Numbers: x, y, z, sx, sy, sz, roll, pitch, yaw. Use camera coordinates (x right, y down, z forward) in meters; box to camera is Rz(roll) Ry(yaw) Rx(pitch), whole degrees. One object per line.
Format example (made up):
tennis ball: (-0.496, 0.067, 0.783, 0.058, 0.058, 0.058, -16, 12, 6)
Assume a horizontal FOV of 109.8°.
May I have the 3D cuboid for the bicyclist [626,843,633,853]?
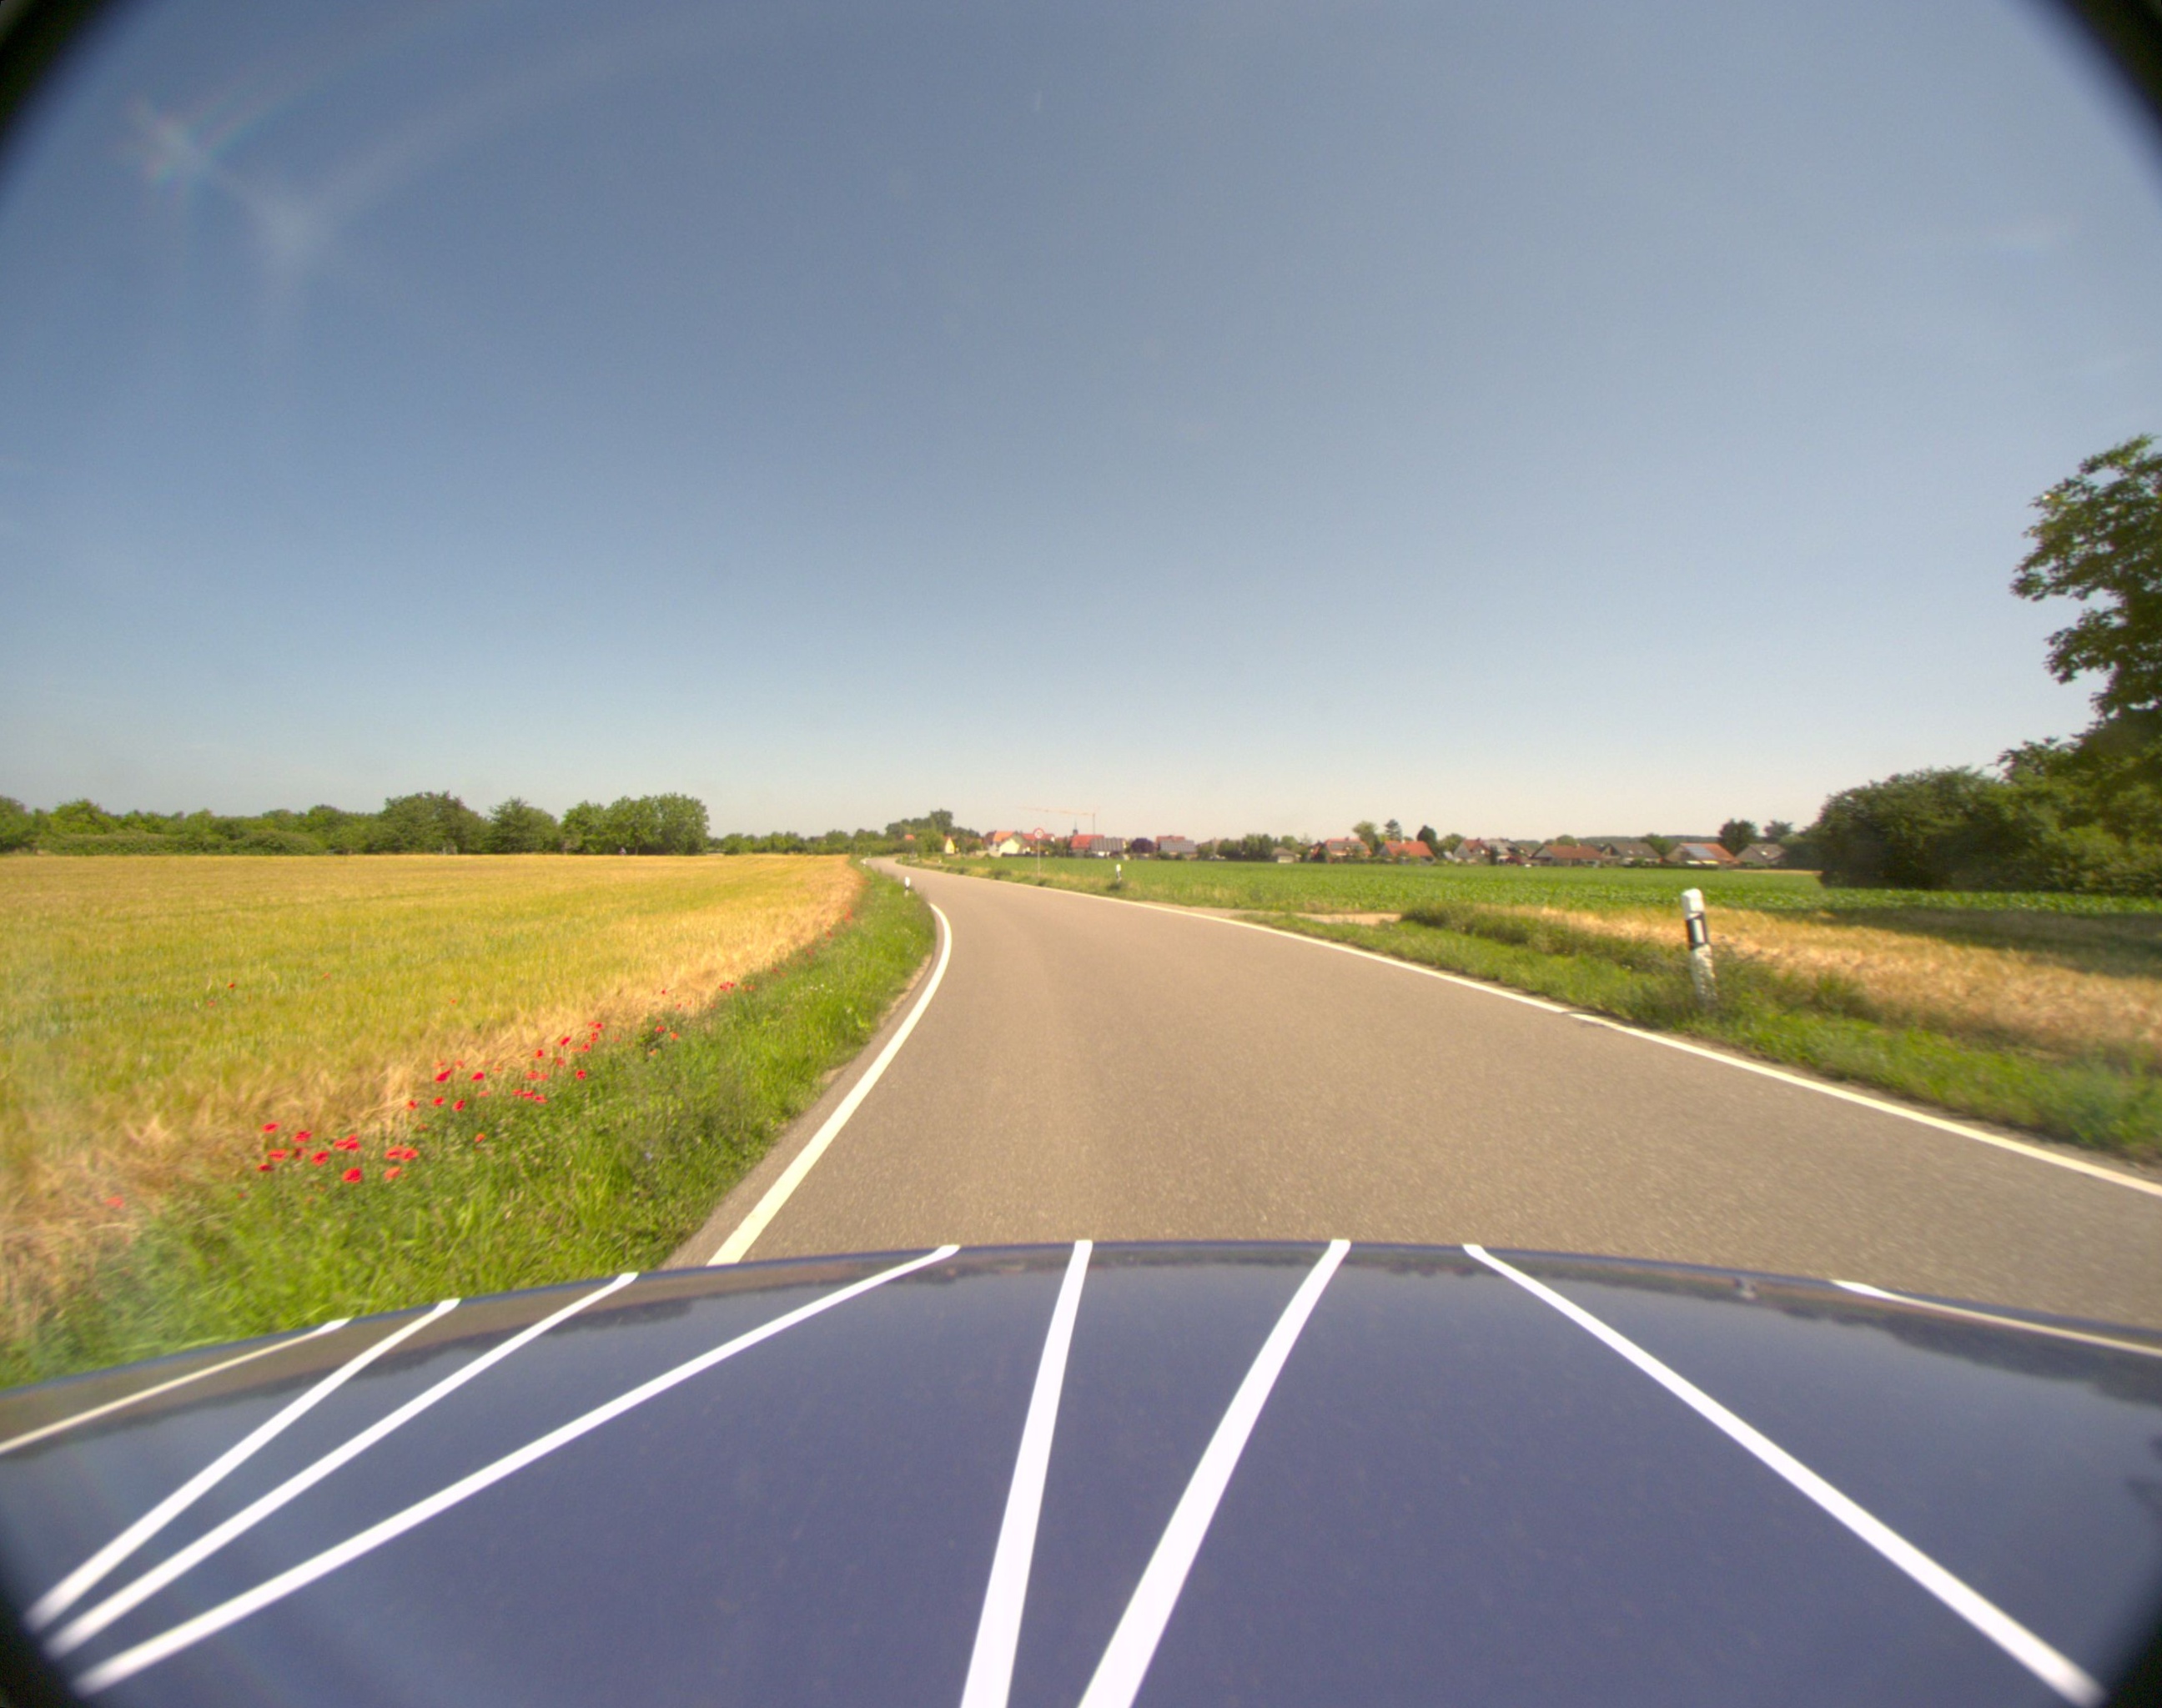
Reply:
bicyclist: (-67.767, -0.915, 113.952, 0.672, 1.565, 0.737, 2, 1, 39)
